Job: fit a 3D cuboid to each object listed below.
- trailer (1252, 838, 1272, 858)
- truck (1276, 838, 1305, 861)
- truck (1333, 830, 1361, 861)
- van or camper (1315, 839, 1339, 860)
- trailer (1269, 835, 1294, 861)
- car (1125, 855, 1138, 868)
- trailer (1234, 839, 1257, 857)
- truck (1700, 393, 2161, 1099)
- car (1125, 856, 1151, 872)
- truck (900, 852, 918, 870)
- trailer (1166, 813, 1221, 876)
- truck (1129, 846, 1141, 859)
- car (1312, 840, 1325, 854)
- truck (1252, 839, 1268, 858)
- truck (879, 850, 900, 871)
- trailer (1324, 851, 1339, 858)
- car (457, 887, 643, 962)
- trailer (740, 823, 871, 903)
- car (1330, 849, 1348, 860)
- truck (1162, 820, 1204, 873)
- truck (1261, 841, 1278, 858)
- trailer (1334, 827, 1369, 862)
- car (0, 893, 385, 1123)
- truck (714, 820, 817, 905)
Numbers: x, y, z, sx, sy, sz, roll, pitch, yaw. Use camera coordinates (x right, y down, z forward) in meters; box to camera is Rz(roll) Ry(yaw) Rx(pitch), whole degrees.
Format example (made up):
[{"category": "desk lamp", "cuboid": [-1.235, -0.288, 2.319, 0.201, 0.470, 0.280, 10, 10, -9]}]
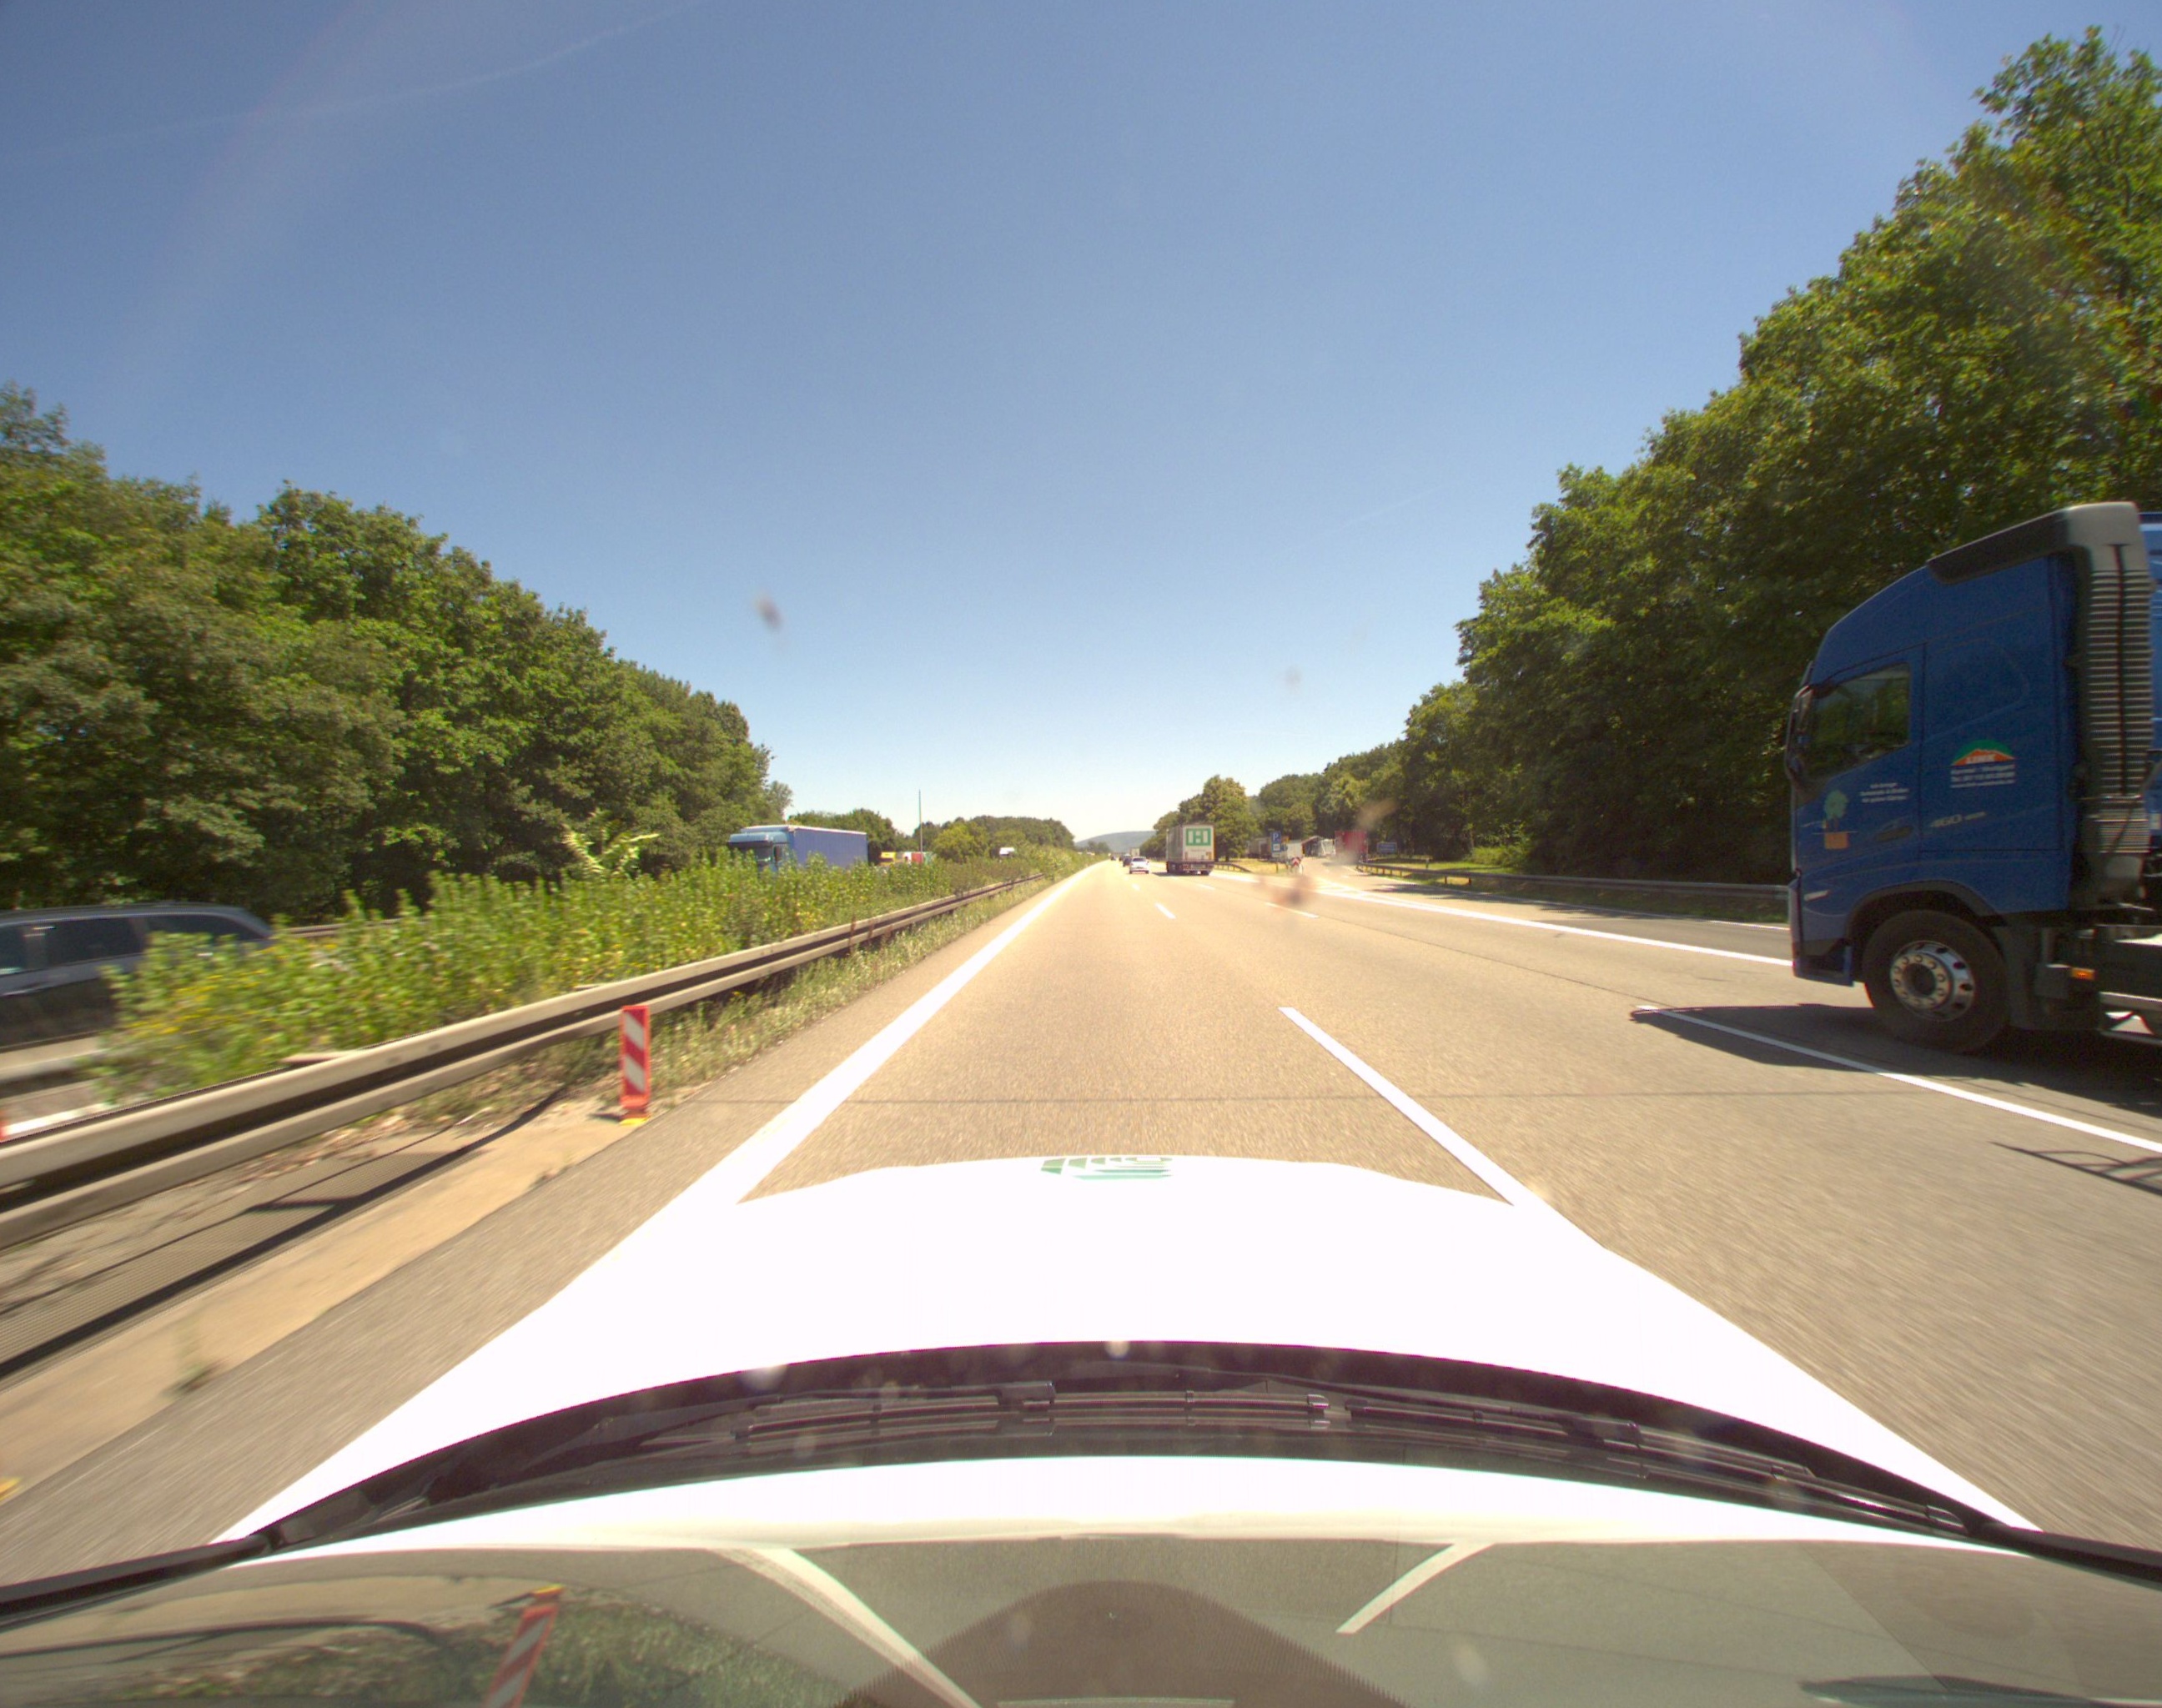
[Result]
[{"category": "trailer", "cuboid": [36.633, -1.155, 165.081, 3.084, 3.790, 13.396, 0, 0, 9]}, {"category": "truck", "cuboid": [28.271, -0.546, 110.304, 2.456, 2.946, 7.669, -1, 0, 5]}, {"category": "truck", "cuboid": [34.280, -1.080, 105.088, 2.957, 3.881, 6.443, -2, 0, 15]}, {"category": "van or camper", "cuboid": [40.367, -0.782, 133.773, 2.980, 3.235, 7.021, -2, 0, 10]}, {"category": "trailer", "cuboid": [31.387, -0.909, 128.049, 3.163, 3.935, 11.586, -1, 0, 11]}, {"category": "car", "cuboid": [7.703, 1.075, 123.902, 1.888, 1.892, 4.006, -2, 0, 5]}, {"category": "trailer", "cuboid": [37.347, -1.281, 185.745, 3.122, 3.952, 14.210, -2, 0, 4]}, {"category": "truck", "cuboid": [7.460, -0.618, 6.187, 2.440, 4.038, 4.073, -1, 0, 2]}, {"category": "car", "cuboid": [5.085, 0.879, 73.152, 1.808, 1.405, 3.312, -2, 0, -4]}, {"category": "truck", "cuboid": [-38.741, 1.532, 183.738, 2.605, 3.971, 9.985, -2, 0, -4]}, {"category": "trailer", "cuboid": [9.069, -0.727, 67.145, 3.169, 4.627, 12.056, -2, 0, 2]}, {"category": "truck", "cuboid": [16.229, -0.510, 245.082, 3.311, 3.756, 12.805, 0, 0, 3]}, {"category": "car", "cuboid": [43.311, -1.296, 148.443, 1.980, 2.439, 4.796, -2, 0, 13]}, {"category": "truck", "cuboid": [37.699, -1.147, 171.644, 3.070, 3.790, 5.330, 0, 0, 9]}, {"category": "truck", "cuboid": [-38.175, 1.248, 162.576, 2.607, 3.971, 9.977, -2, 0, -6]}, {"category": "trailer", "cuboid": [38.642, 0.114, 125.753, 1.764, 0.958, 4.013, -2, 0, 12]}, {"category": "car", "cuboid": [-12.805, 1.628, 20.021, 1.703, 1.415, 4.341, -2, 0, 0]}, {"category": "trailer", "cuboid": [-15.868, 0.490, 48.508, 2.833, 3.971, 13.809, -2, 0, 1]}, {"category": "car", "cuboid": [37.555, 0.047, 118.635, 1.980, 1.451, 5.050, -2, 0, 12]}, {"category": "truck", "cuboid": [9.425, -0.668, 75.775, 3.170, 4.607, 5.950, -2, 0, 2]}, {"category": "truck", "cuboid": [35.180, -0.900, 152.276, 2.454, 3.086, 6.632, 0, 0, 8]}, {"category": "trailer", "cuboid": [32.406, -1.053, 97.864, 2.958, 3.878, 12.938, -2, 0, 14]}, {"category": "car", "cuboid": [-9.209, 1.299, 7.508, 1.804, 1.620, 4.341, -2, 0, 0]}, {"category": "truck", "cuboid": [-15.943, 0.415, 41.584, 2.807, 3.971, 5.873, -2, 0, 0]}]
